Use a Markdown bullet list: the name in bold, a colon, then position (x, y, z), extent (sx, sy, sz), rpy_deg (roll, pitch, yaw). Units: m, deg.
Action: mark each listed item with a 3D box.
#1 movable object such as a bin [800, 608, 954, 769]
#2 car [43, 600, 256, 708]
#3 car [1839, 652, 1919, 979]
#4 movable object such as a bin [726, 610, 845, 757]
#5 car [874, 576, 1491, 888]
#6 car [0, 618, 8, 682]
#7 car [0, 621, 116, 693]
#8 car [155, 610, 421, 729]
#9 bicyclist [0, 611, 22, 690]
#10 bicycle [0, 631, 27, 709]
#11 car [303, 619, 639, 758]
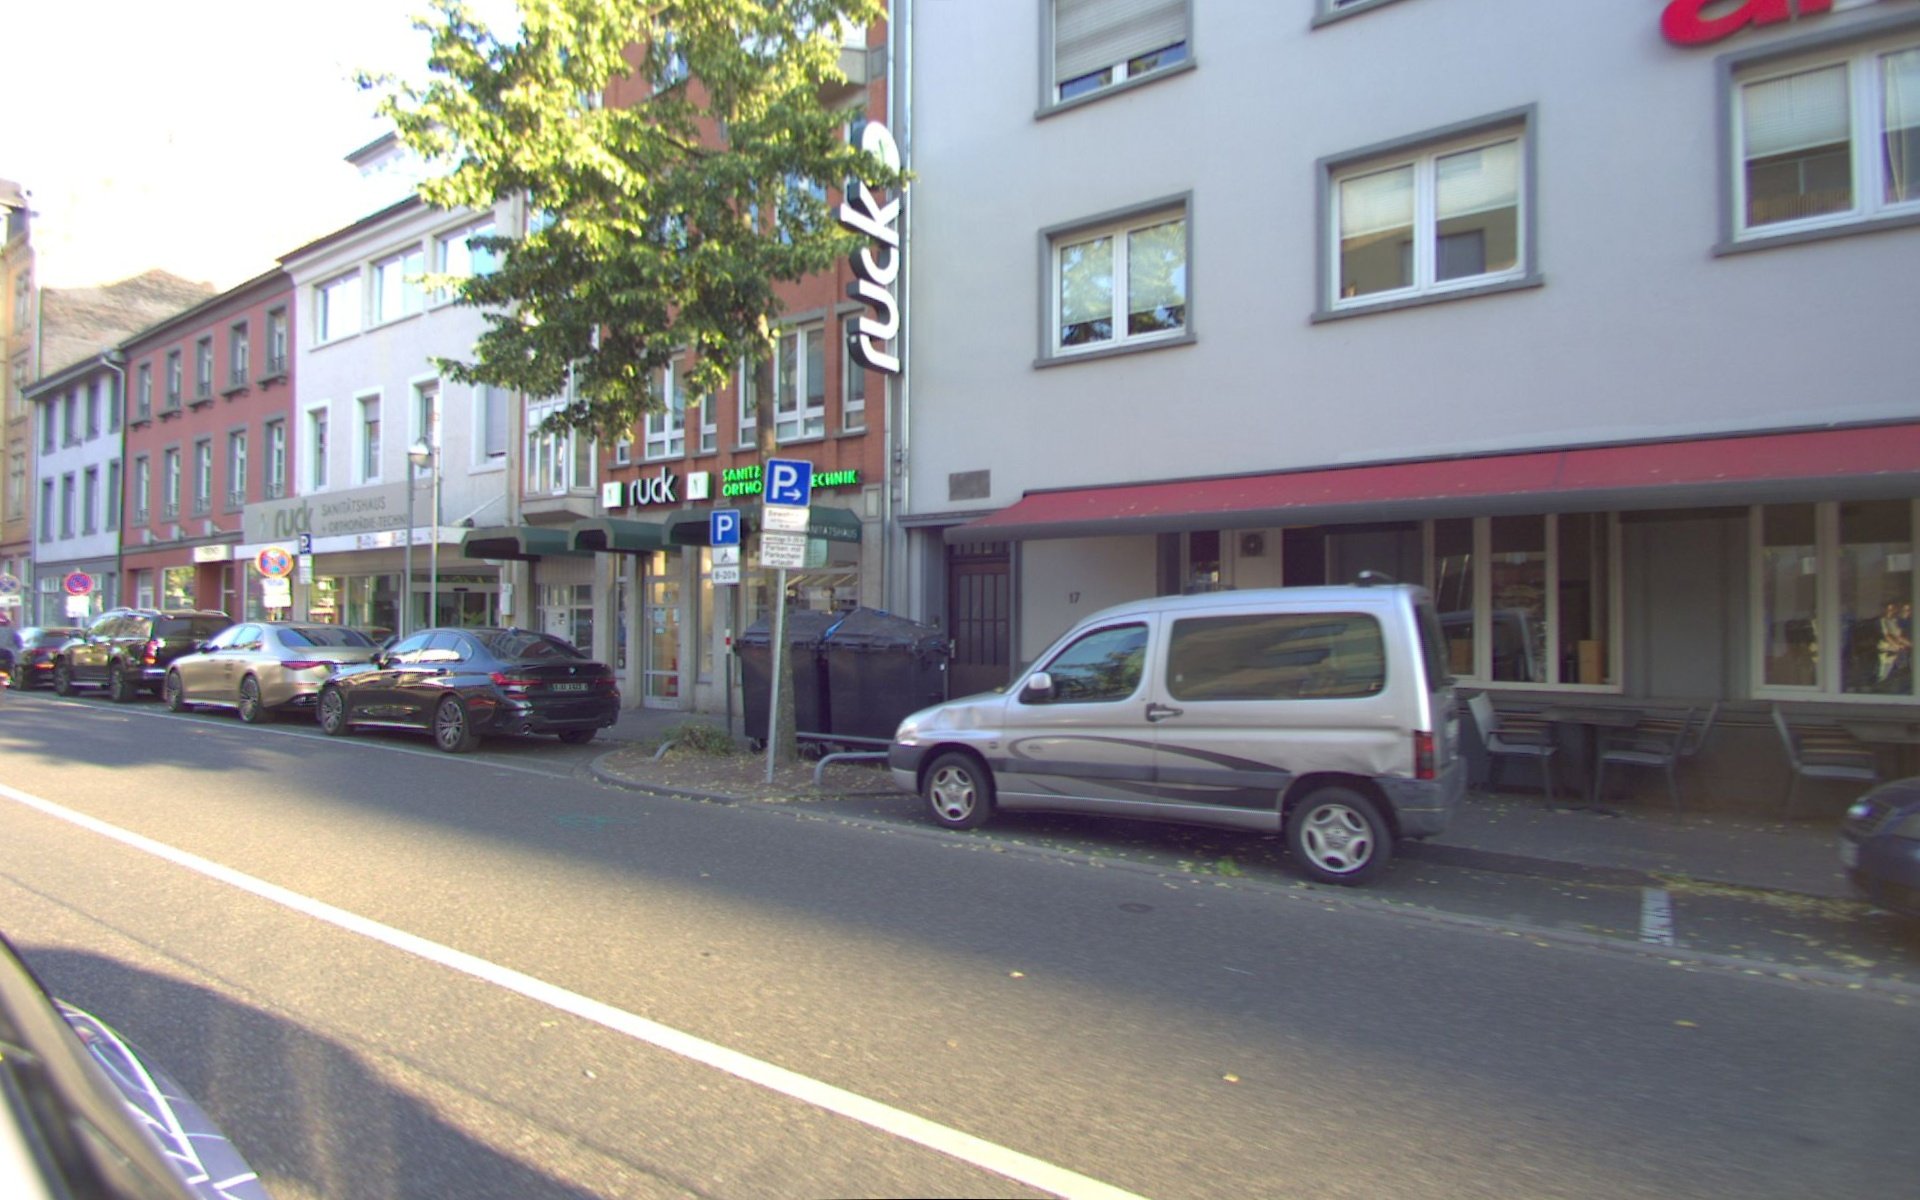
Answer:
- **movable object such as a bin**: position (-0.878, 0.875, 10.650), extent (1.481, 1.555, 0.744), rpy_deg (0, 0, 35)
- **car**: position (-16.179, 1.030, 20.129), extent (4.935, 1.898, 1.951), rpy_deg (-2, -2, 34)
- **car**: position (6.282, 0.930, 3.797), extent (4.301, 1.363, 1.635), rpy_deg (-1, -2, 35)
- **movable object such as a bin**: position (-1.966, 0.904, 11.390), extent (1.098, 1.547, 0.739), rpy_deg (-1, 0, 35)
- **car**: position (1.491, 0.698, 7.212), extent (3.986, 1.676, 1.702), rpy_deg (0, 1, 32)
- **car**: position (-28.432, 1.365, 28.262), extent (4.130, 1.741, 1.856), rpy_deg (0, -1, 34)
- **car**: position (-21.303, 1.269, 23.433), extent (3.833, 1.536, 1.717), rpy_deg (-1, -2, 35)
- **car**: position (-10.710, 1.019, 16.003), extent (4.934, 1.612, 1.874), rpy_deg (-1, -3, 36)
- **bicyclist**: position (-16.455, 0.855, 17.236), extent (0.659, 1.312, 0.563), rpy_deg (0, 0, 33)
- **bicycle**: position (-16.456, 1.166, 17.233), extent (1.689, 1.246, 0.416), rpy_deg (0, 0, 32)
- **car**: position (-6.168, 0.969, 12.610), extent (4.405, 1.403, 1.785), rpy_deg (0, -1, 34)
